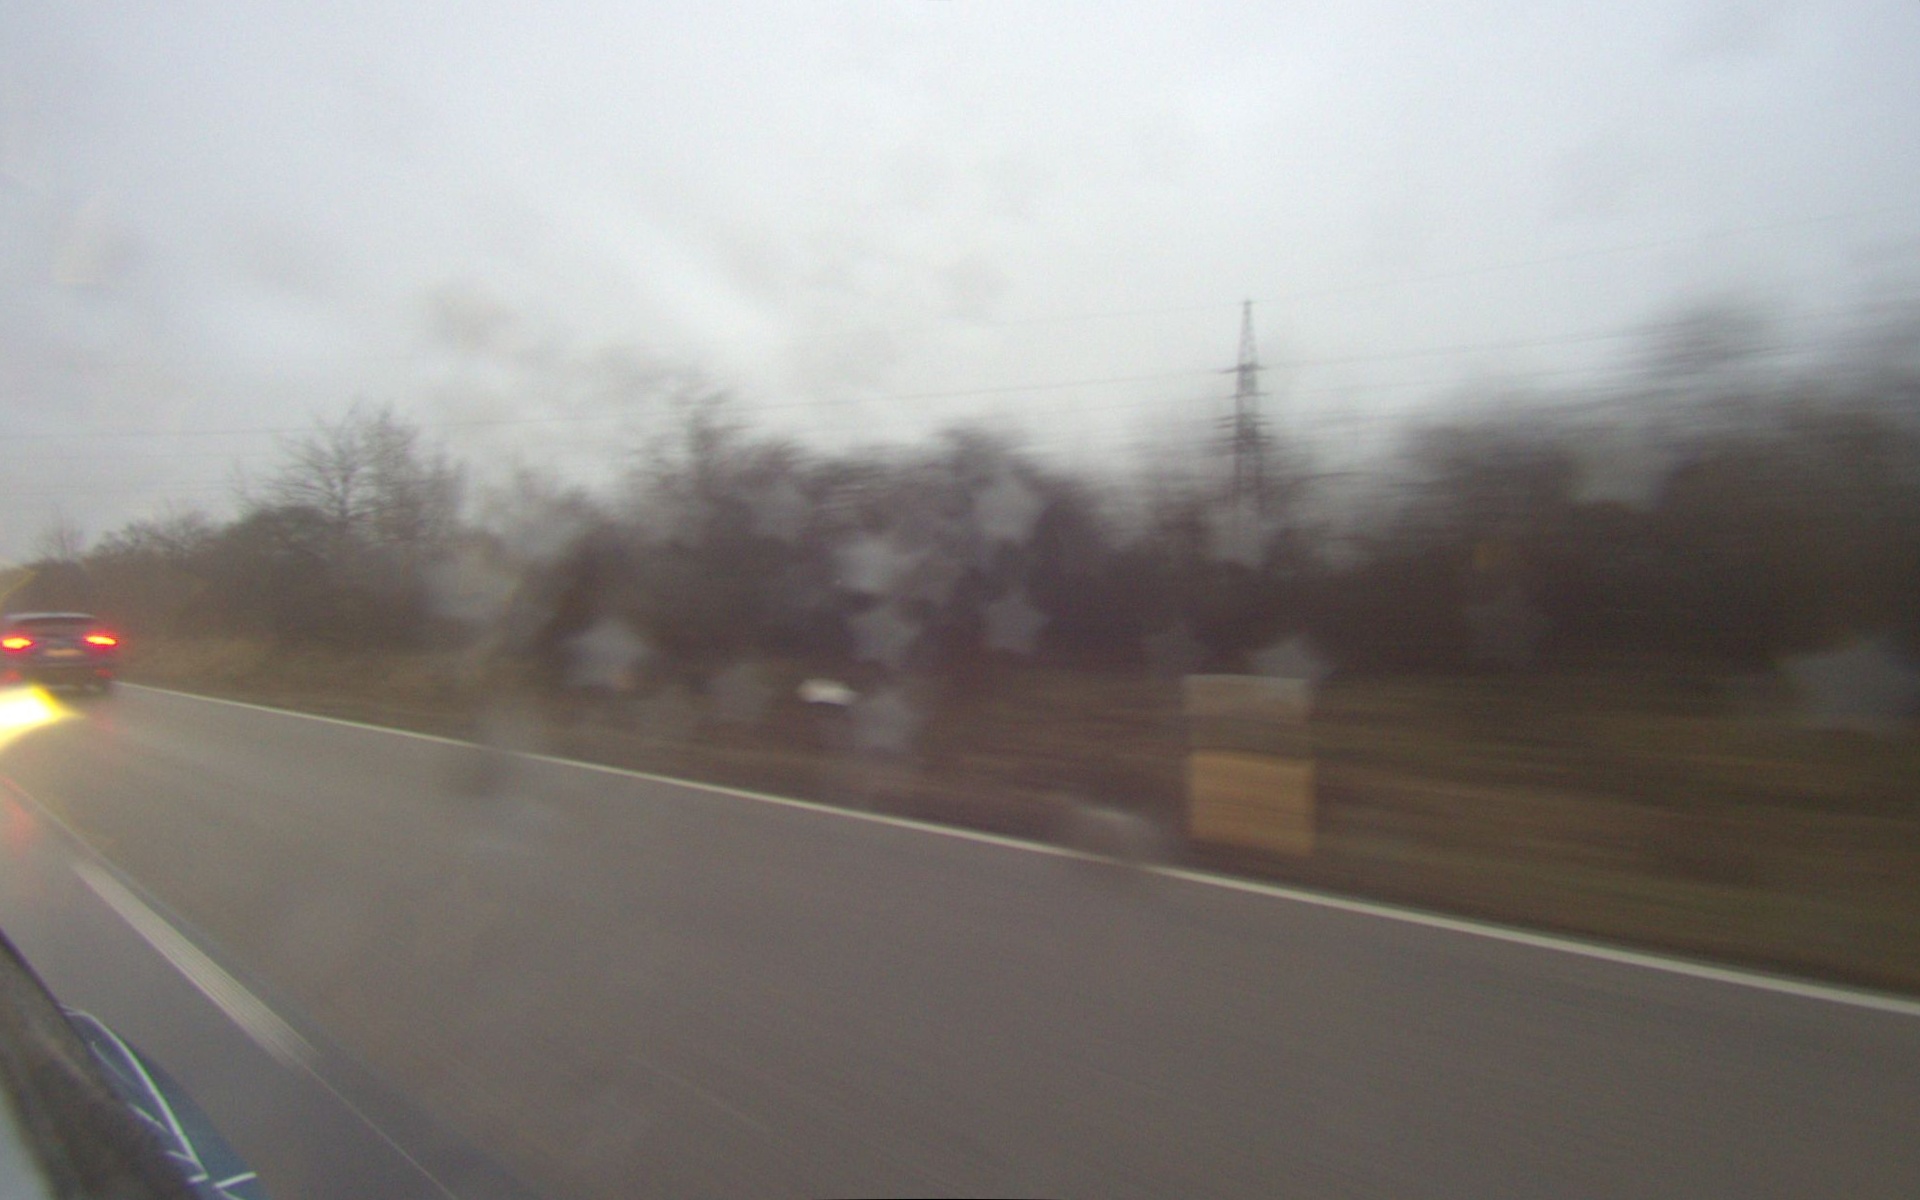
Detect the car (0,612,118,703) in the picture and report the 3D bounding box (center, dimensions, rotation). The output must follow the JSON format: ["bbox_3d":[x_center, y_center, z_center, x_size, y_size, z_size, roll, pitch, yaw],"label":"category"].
[{"bbox_3d":[-18.853,1.104,20.652,4.101,1.667,1.903,-1,-1,40],"label":"car"}]
